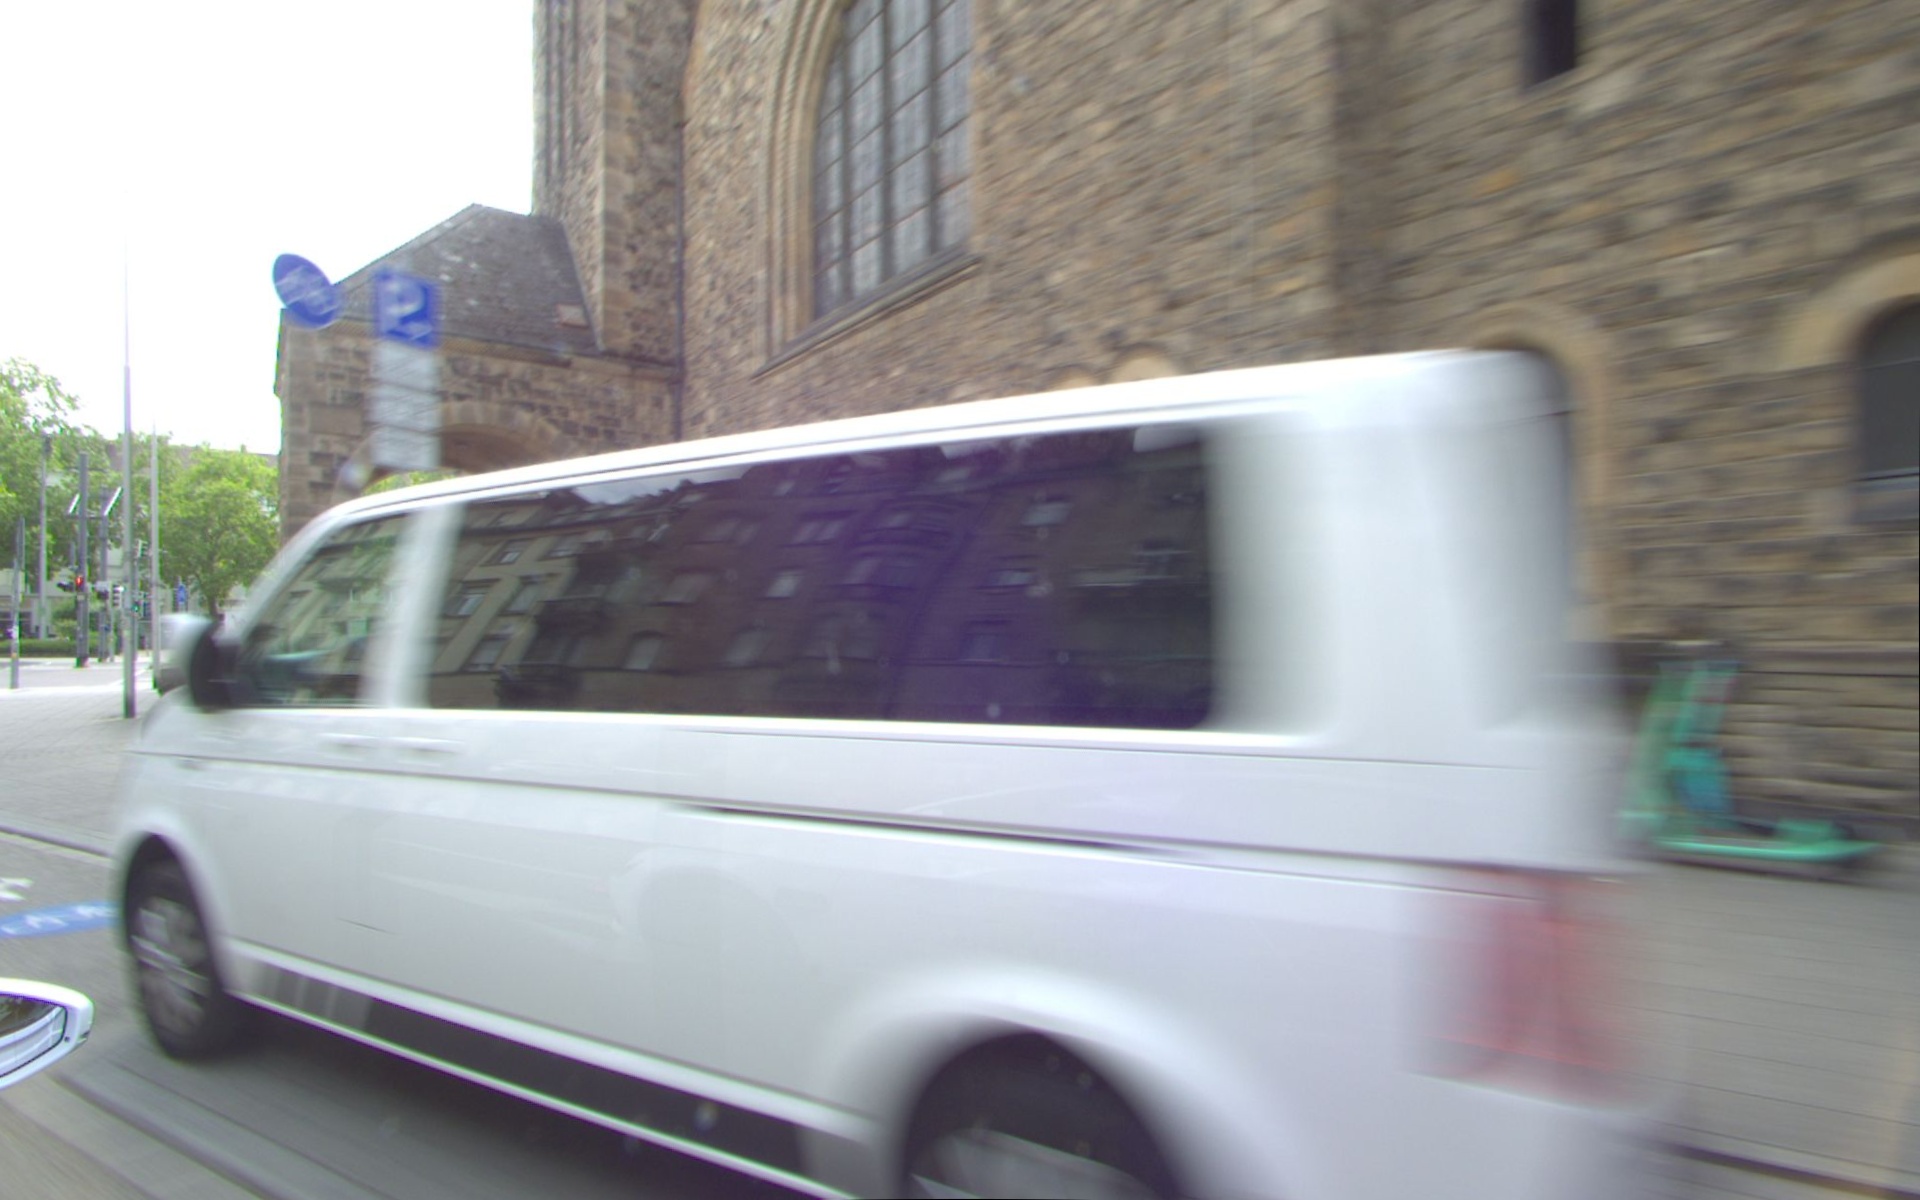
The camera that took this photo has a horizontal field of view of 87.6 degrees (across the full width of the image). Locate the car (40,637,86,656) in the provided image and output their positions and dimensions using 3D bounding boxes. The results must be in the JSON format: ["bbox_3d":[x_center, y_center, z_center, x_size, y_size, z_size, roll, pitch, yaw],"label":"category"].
[{"bbox_3d":[-73.807,3.789,82.402,3.947,1.522,1.988,-1,-2,35],"label":"car"}]

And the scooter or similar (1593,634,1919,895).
[{"bbox_3d":[4.276,0.797,5.356,1.427,1.222,0.541,-1,-1,44],"label":"scooter or similar"}]

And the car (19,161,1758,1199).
[{"bbox_3d":[-0.771,0.521,3.323,5.045,2.056,2.012,0,0,29],"label":"car"}]

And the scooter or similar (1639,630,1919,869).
[{"bbox_3d":[4.832,0.789,5.738,0.540,1.222,1.469,1,-1,-39],"label":"scooter or similar"}]
